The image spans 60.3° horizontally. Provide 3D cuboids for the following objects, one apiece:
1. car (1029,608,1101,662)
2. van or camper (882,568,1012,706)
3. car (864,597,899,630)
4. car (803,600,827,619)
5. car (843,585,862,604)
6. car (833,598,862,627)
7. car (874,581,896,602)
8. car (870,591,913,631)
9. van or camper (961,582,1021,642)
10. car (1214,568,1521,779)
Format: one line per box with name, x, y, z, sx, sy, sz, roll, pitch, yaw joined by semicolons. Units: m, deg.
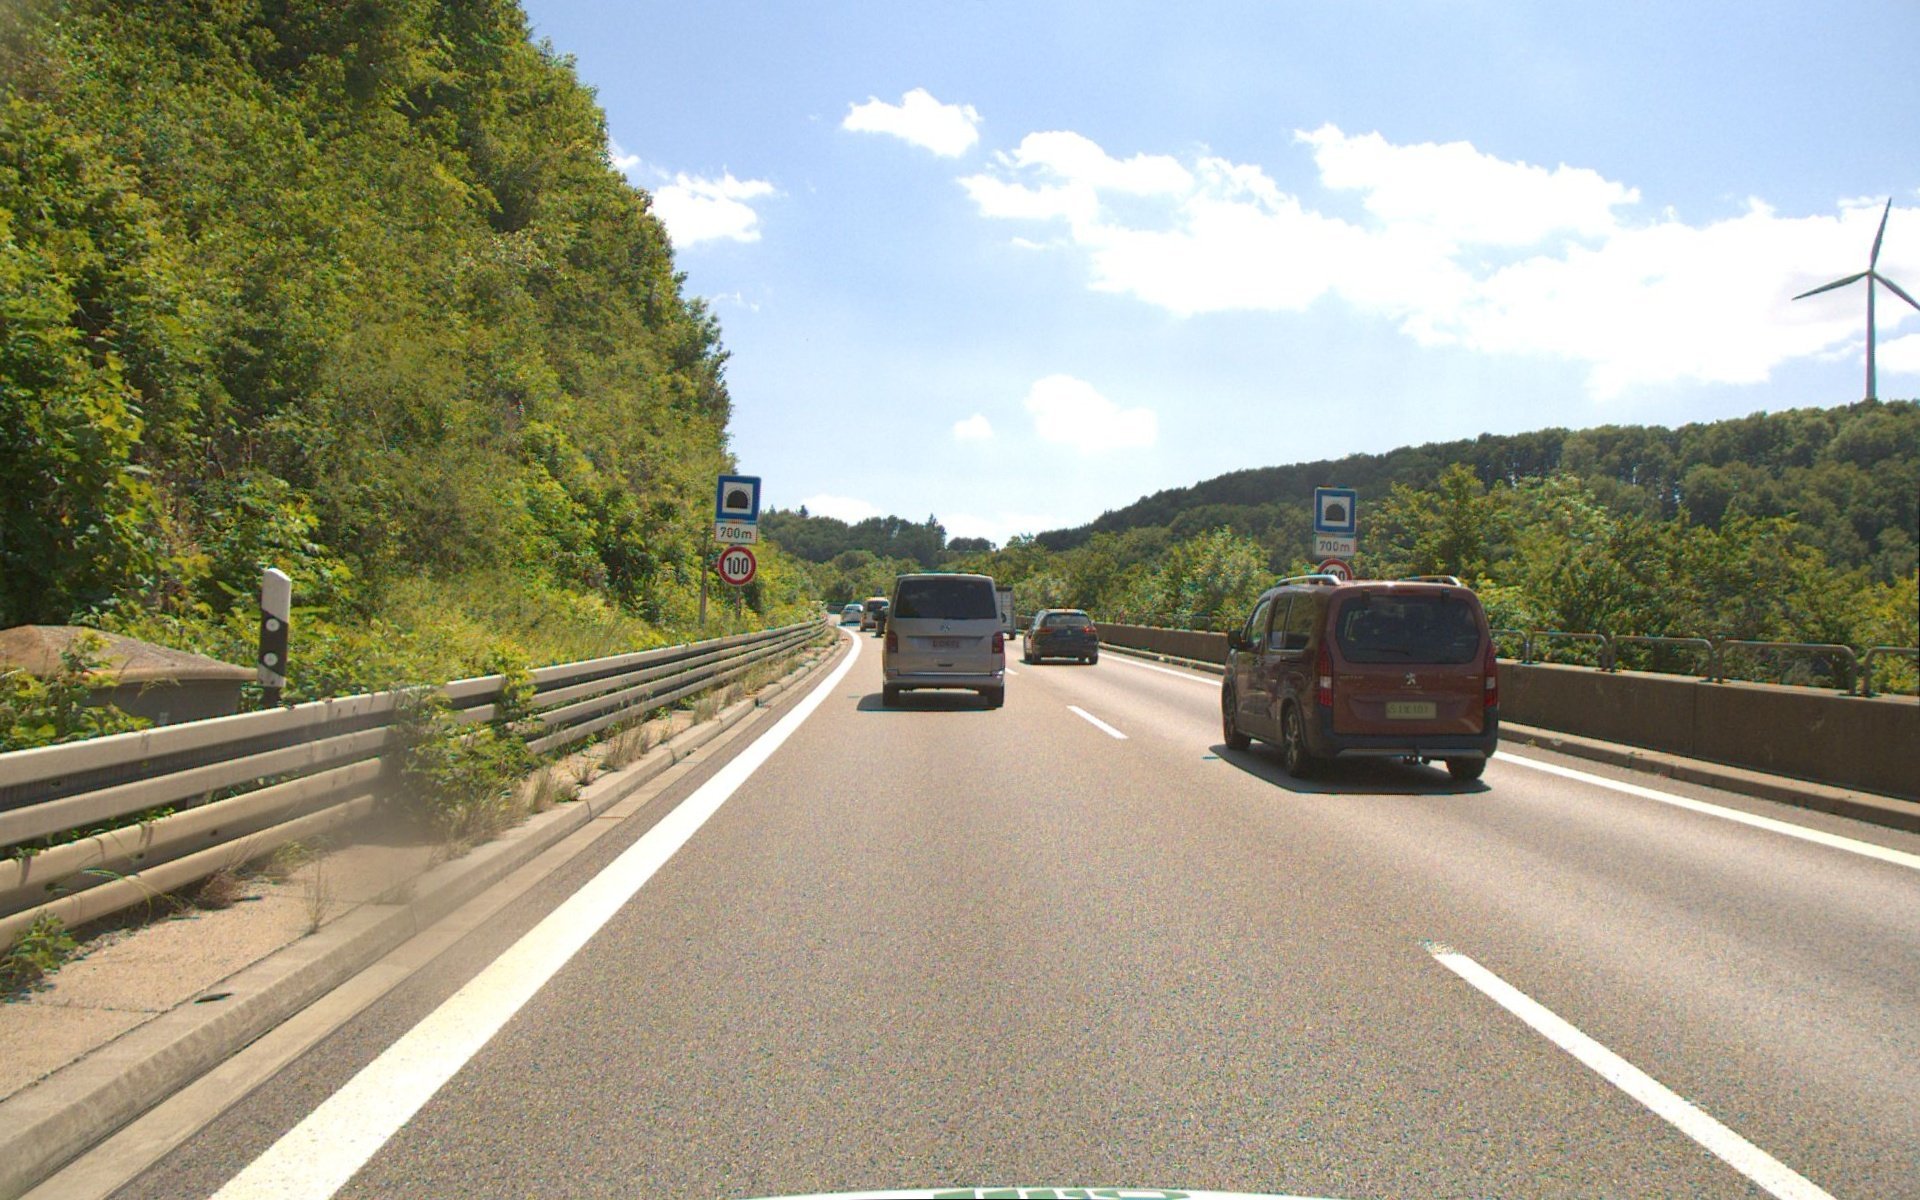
car;2.856;0.921;45.416;1.732;1.400;3.592;1;0;0
van or camper;-0.286;0.546;26.163;1.838;1.984;4.291;0;0;-3
car;-4.465;0.755;94.277;1.954;1.849;3.998;1;0;-3
car;-13.191;0.911;150.423;2.101;1.635;5.071;-1;-1;-6
car;-11.828;-0.613;181.050;1.955;2.049;3.996;1;0;-5
car;-7.819;0.866;115.155;1.954;1.948;3.996;1;0;-4
car;-7.543;-0.869;165.910;1.956;2.049;3.994;1;0;-7
car;-3.291;0.539;79.173;1.954;1.849;3.998;1;0;-3
van or camper;1.374;0.549;75.241;2.219;2.596;4.732;-1;0;-5
car;3.876;0.658;16.599;1.796;1.815;4.674;0;-1;-2
